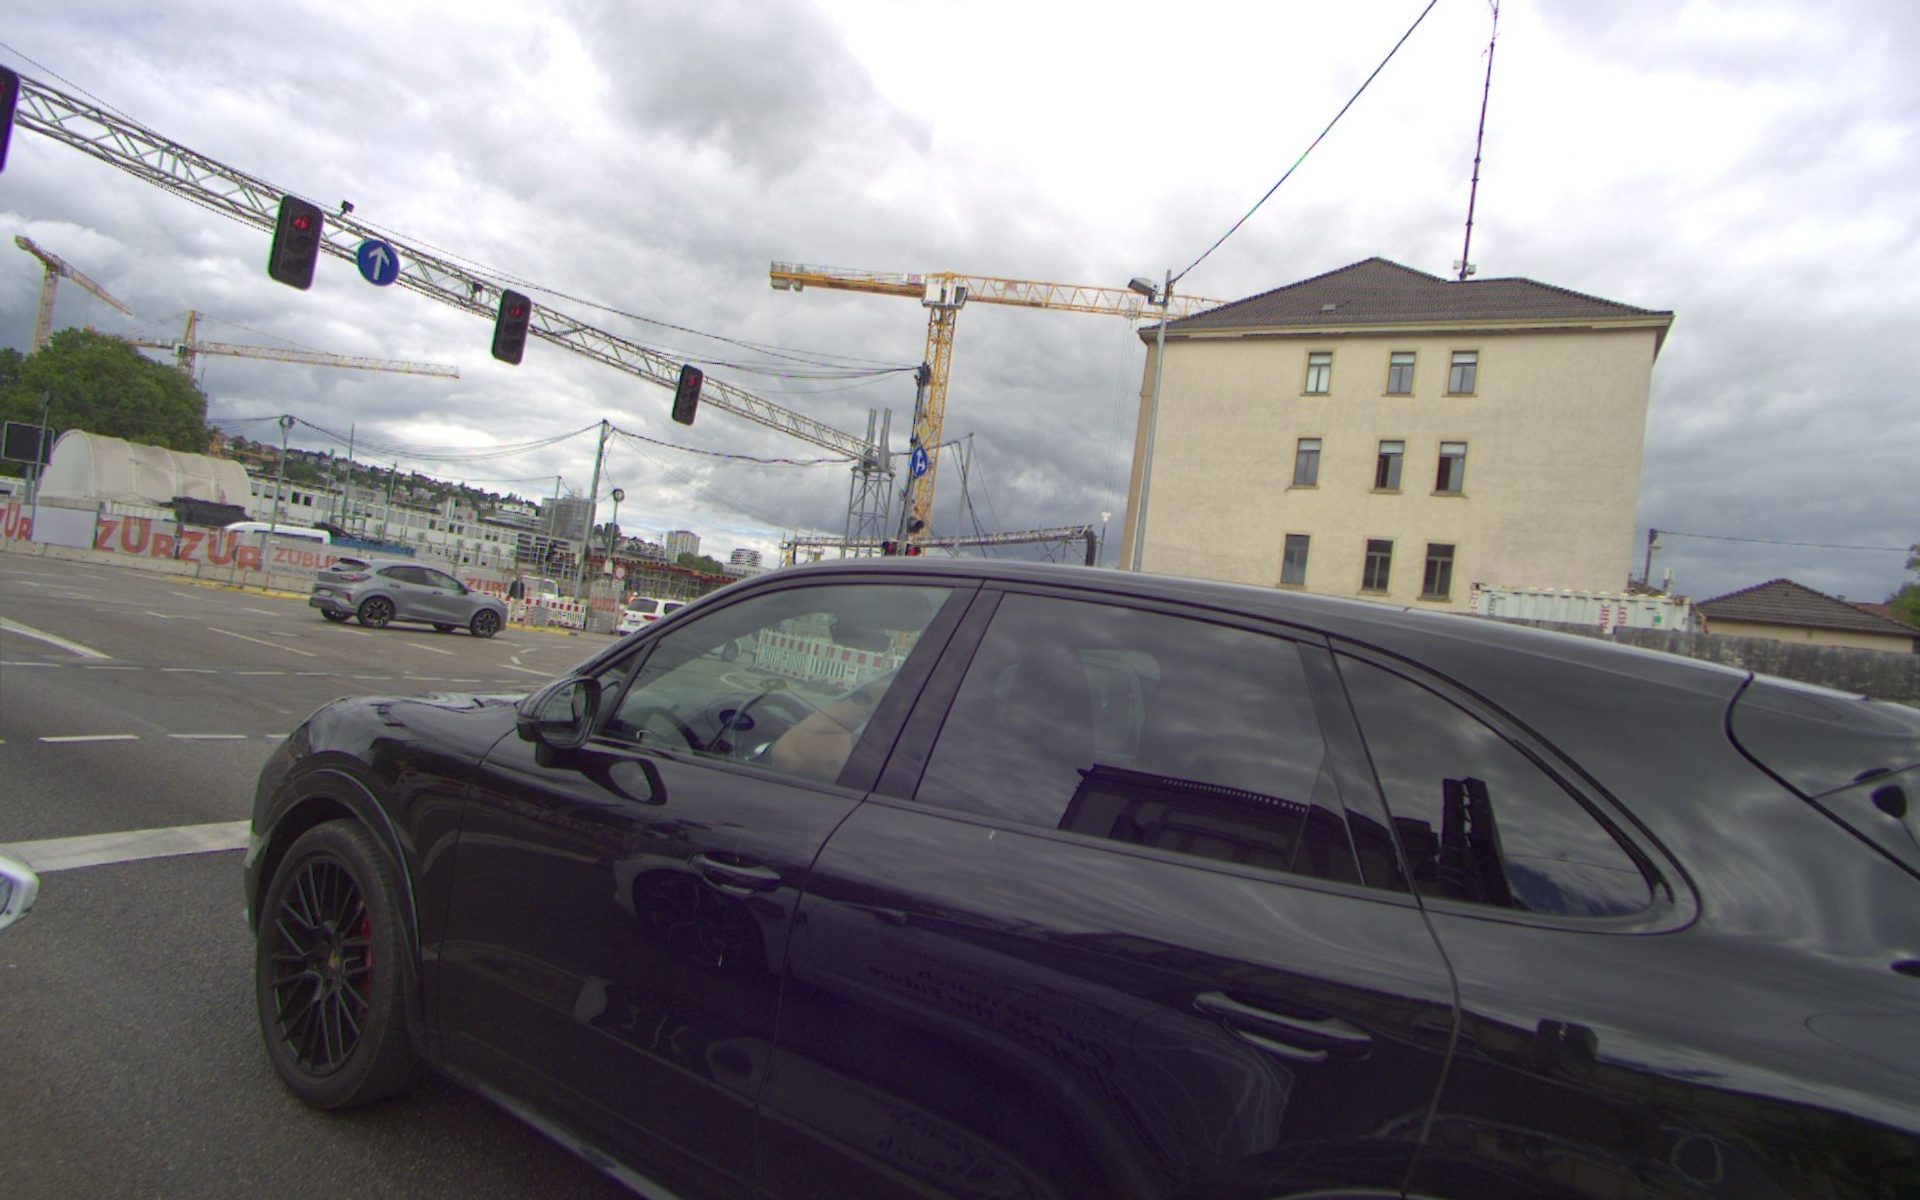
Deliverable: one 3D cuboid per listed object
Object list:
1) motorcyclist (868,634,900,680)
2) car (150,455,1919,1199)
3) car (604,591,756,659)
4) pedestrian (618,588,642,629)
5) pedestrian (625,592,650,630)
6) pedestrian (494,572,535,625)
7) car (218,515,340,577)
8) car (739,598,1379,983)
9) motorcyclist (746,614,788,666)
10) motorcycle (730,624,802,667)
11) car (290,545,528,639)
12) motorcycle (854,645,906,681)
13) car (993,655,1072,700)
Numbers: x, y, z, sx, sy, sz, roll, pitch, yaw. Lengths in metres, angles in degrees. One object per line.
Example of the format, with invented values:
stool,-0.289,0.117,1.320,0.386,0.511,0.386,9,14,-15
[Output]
motorcyclist,-2.815,2.129,37.365,0.641,1.615,0.787,6,-1,32
car,-0.006,0.688,2.713,4.505,1.687,1.996,6,-2,34
car,-9.362,0.902,33.978,1.968,1.721,4.678,6,-2,33
pedestrian,-17.640,0.452,53.825,0.855,2.037,0.677,6,-1,44
pedestrian,-17.552,0.601,54.790,0.850,1.938,0.680,7,-1,26
pedestrian,-17.339,-0.056,39.153,1.040,1.869,0.781,8,-1,-42
car,-29.525,-2.320,43.644,3.976,2.037,1.976,9,-2,-43
car,0.576,0.998,6.550,3.587,1.527,1.825,6,-2,33
motorcyclist,-6.382,1.313,33.221,0.804,1.589,0.880,6,-1,32
motorcycle,-6.389,1.526,33.249,0.804,1.168,2.427,6,-2,32
car,-12.570,-0.112,23.250,1.966,1.557,4.305,6,-2,30
motorcycle,-2.926,2.340,37.214,0.641,1.168,2.171,6,-2,32
car,3.592,3.800,49.009,1.967,1.826,4.279,6,-2,31
